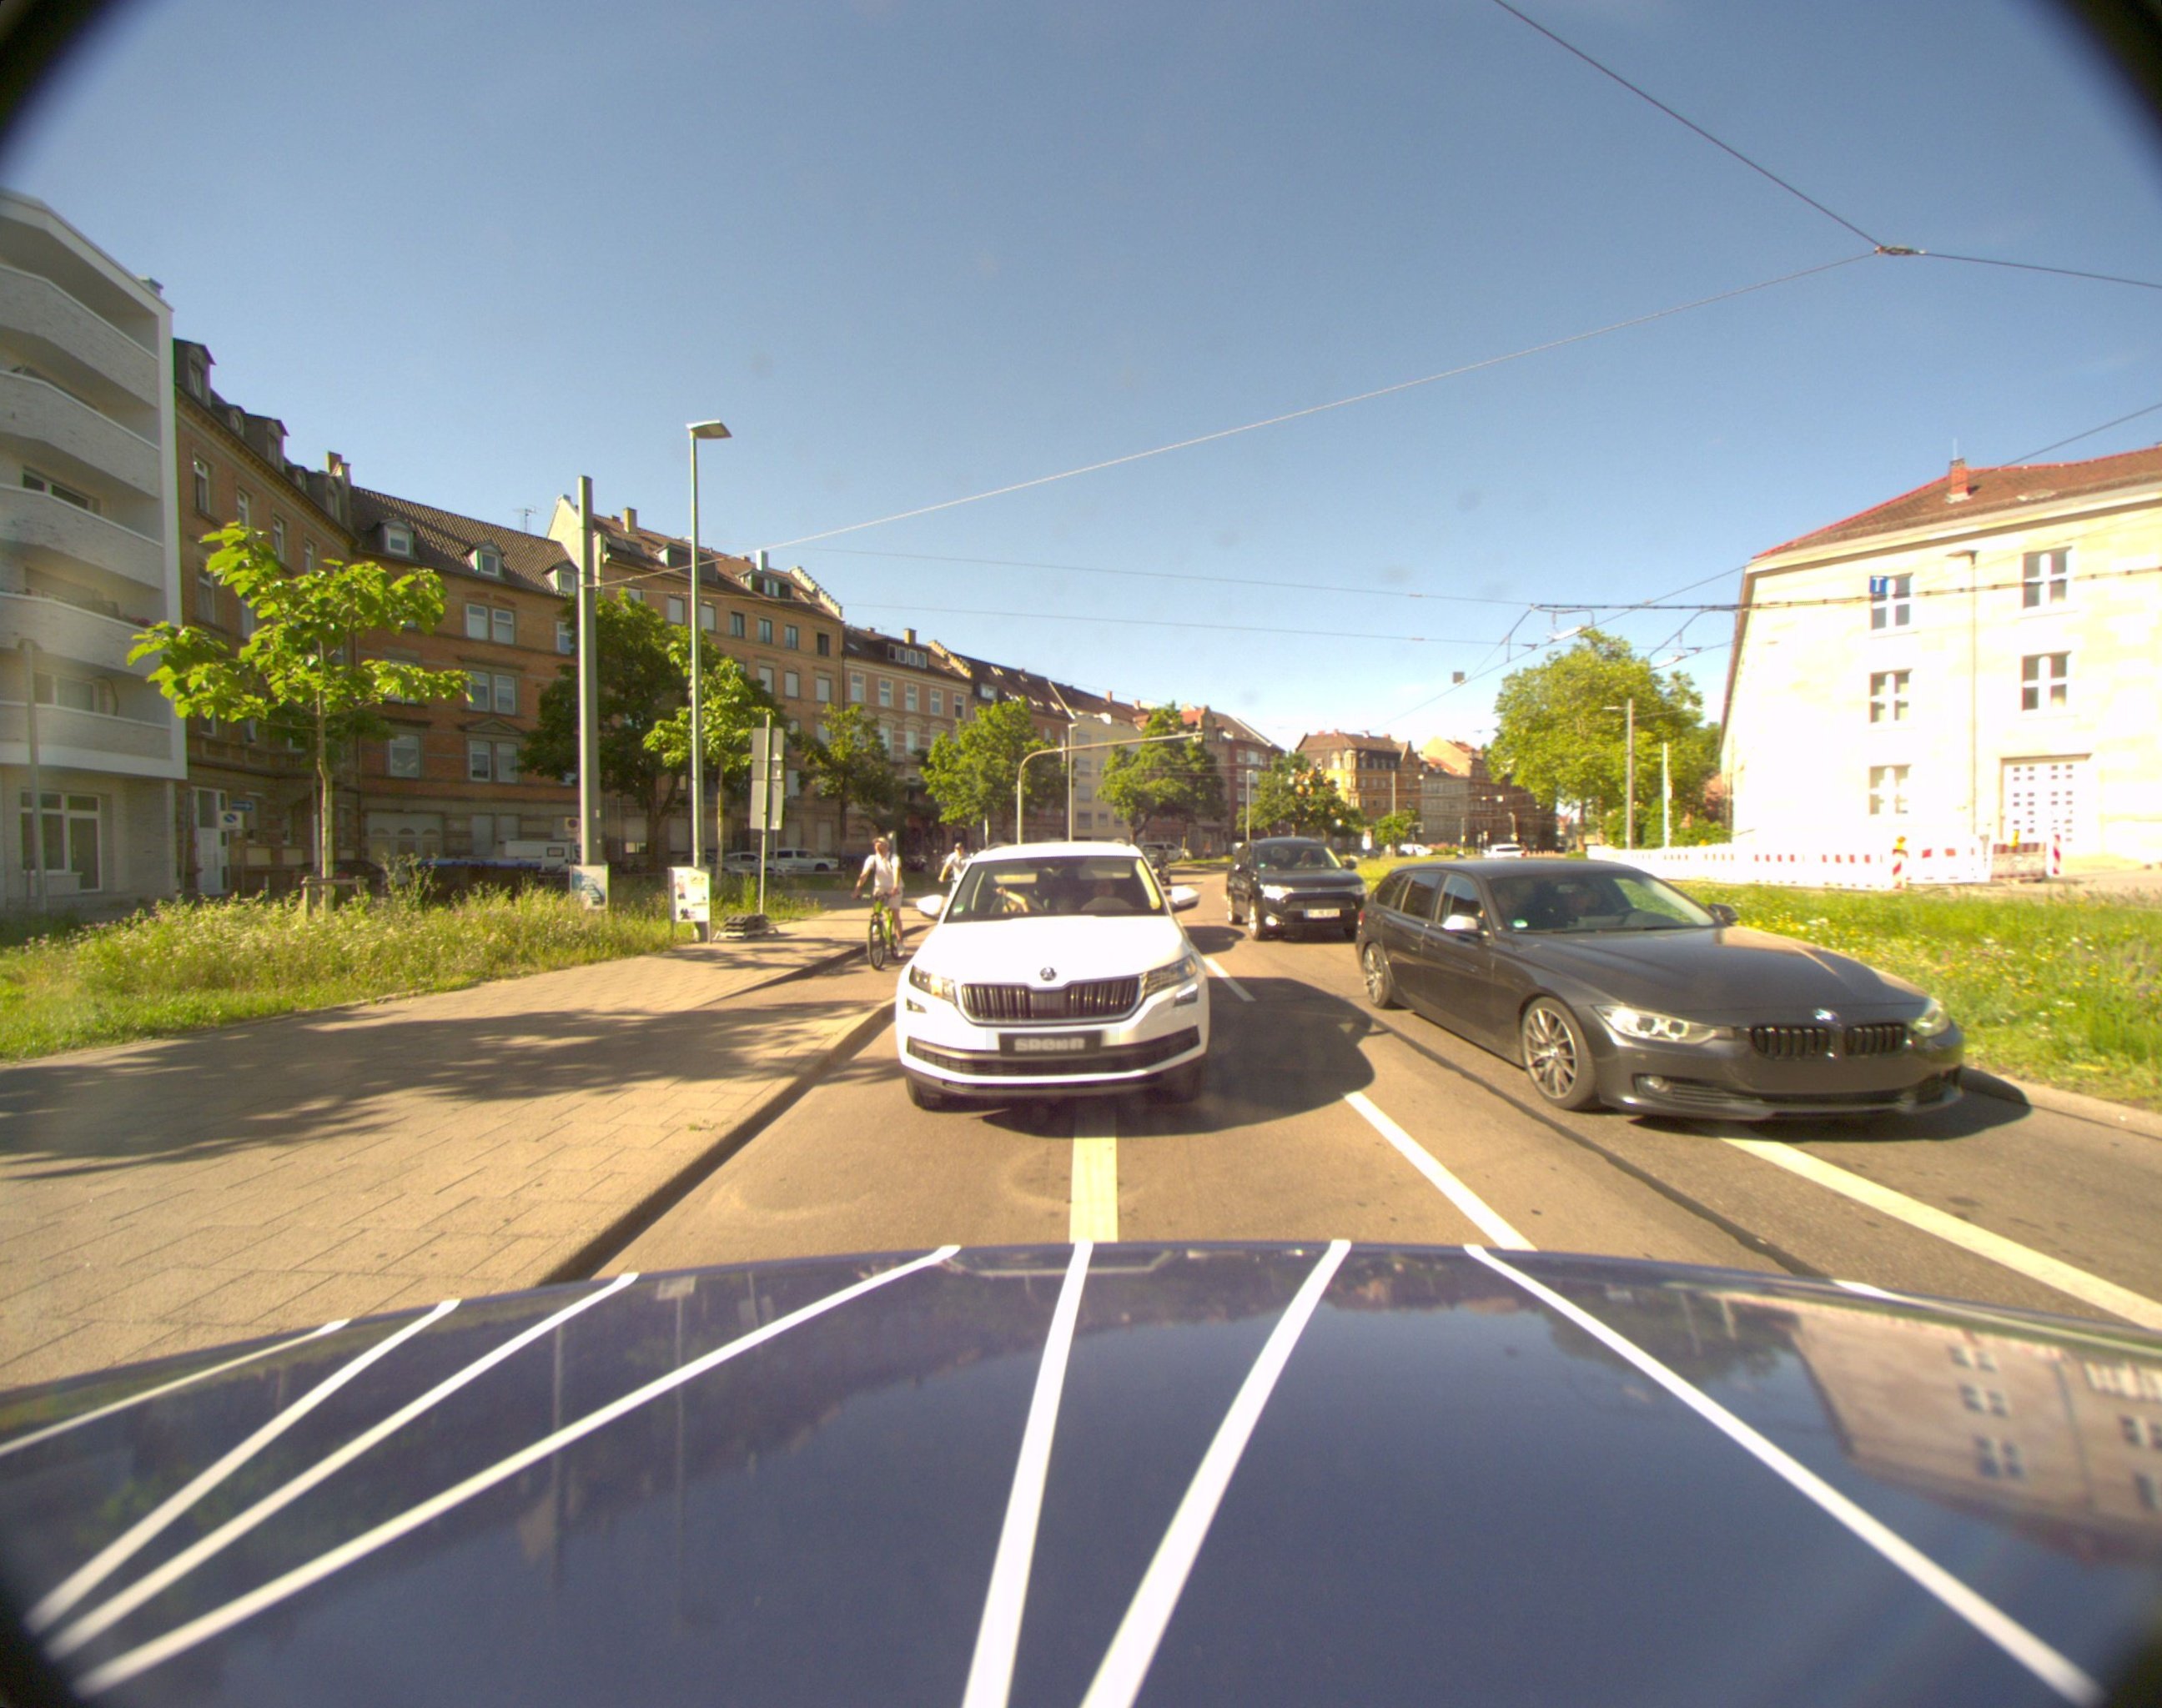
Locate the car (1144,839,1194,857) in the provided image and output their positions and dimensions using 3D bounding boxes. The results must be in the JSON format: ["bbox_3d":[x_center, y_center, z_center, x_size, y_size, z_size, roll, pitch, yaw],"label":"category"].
[{"bbox_3d":[8.201,-0.581,70.611,4.578,1.658,1.600,0,1,7],"label":"car"}]

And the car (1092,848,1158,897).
[{"bbox_3d":[1.646,0.602,26.959,1.838,1.543,4.151,0,1,10],"label":"car"}]

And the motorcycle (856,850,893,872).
[{"bbox_3d":[-12.599,0.407,46.407,2.199,1.260,0.664,-2,1,24],"label":"motorcycle"}]

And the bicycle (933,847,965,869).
[{"bbox_3d":[-7.726,0.246,44.521,0.664,1.260,2.198,-3,1,-45],"label":"bicycle"}]

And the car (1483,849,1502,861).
[{"bbox_3d":[63.247,0.134,116.775,1.835,1.637,4.157,1,2,40],"label":"car"}]

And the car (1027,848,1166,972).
[{"bbox_3d":[0.237,0.764,12.610,1.842,1.636,4.397,-2,0,1],"label":"car"}]

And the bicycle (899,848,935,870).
[{"bbox_3d":[-9.740,0.312,45.073,2.198,1.260,0.664,-2,1,30],"label":"bicycle"}]

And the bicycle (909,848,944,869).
[{"bbox_3d":[-9.507,0.285,46.714,2.198,1.260,0.664,-2,1,32],"label":"bicycle"}]

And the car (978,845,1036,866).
[{"bbox_3d":[-5.224,0.093,53.967,3.822,1.398,1.683,0,1,9],"label":"car"}]

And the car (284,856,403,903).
[{"bbox_3d":[-26.166,0.833,27.151,1.835,1.419,4.378,-1,1,-27],"label":"car"}]

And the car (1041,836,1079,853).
[{"bbox_3d":[-1.936,-0.935,71.668,1.547,1.578,3.607,1,2,41],"label":"car"}]

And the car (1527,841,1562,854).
[{"bbox_3d":[63.044,-0.886,103.340,4.058,1.647,1.770,1,2,34],"label":"car"}]

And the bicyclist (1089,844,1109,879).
[{"bbox_3d":[0.865,0.331,35.578,0.667,1.619,0.972,-1,1,17],"label":"bicyclist"}]

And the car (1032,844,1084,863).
[{"bbox_3d":[-1.772,-0.047,58.715,3.823,1.398,1.600,0,1,6],"label":"car"}]

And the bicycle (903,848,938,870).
[{"bbox_3d":[-9.704,0.300,46.011,2.198,1.260,0.664,-2,1,32],"label":"bicycle"}]

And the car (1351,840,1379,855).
[{"bbox_3d":[29.573,-0.704,79.119,1.836,1.464,4.722,1,1,31],"label":"car"}]

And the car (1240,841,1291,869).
[{"bbox_3d":[14.552,0.035,59.789,1.977,2.074,4.723,1,2,41],"label":"car"}]

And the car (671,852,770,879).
[{"bbox_3d":[-17.497,0.538,36.909,4.156,1.244,1.683,0,1,13],"label":"car"}]

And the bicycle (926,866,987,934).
[{"bbox_3d":[-2.681,0.962,16.645,0.758,1.293,2.155,-1,1,6],"label":"bicycle"}]

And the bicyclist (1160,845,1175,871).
[{"bbox_3d":[5.606,0.255,49.270,0.734,1.685,0.973,0,1,22],"label":"bicyclist"}]

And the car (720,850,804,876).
[{"bbox_3d":[-16.404,0.445,39.108,3.696,1.244,1.683,0,1,13],"label":"car"}]

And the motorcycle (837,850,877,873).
[{"bbox_3d":[-13.286,0.444,45.022,2.314,1.270,0.664,-2,1,24],"label":"motorcycle"}]

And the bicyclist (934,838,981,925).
[{"bbox_3d":[-2.698,0.577,16.664,0.809,1.855,0.749,-1,2,6],"label":"bicyclist"}]

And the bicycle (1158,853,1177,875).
[{"bbox_3d":[5.638,0.623,49.322,0.735,1.353,2.078,0,1,21],"label":"bicycle"}]

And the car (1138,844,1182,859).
[{"bbox_3d":[7.129,-0.241,68.181,3.823,1.372,1.600,0,1,9],"label":"car"}]

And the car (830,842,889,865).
[{"bbox_3d":[-15.607,-0.050,53.674,1.547,1.578,3.709,1,2,41],"label":"car"}]

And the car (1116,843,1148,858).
[{"bbox_3d":[5.472,-0.414,80.730,1.547,1.578,3.607,1,2,41],"label":"car"}]

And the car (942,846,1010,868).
[{"bbox_3d":[-7.040,0.181,51.298,4.322,1.398,1.682,0,1,3],"label":"car"}]

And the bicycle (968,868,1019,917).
[{"bbox_3d":[-2.301,0.999,20.350,0.637,1.190,2.156,-1,1,13],"label":"bicycle"}]

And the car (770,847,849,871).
[{"bbox_3d":[-14.678,0.261,41.197,3.700,1.244,1.540,0,1,2],"label":"car"}]

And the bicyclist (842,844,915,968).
[{"bbox_3d":[-2.920,0.721,11.066,0.716,1.715,1.094,1,1,3],"label":"bicyclist"}]

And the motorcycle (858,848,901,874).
[{"bbox_3d":[-11.176,0.380,42.210,2.200,1.322,0.663,-2,1,13],"label":"motorcycle"}]

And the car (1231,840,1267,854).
[{"bbox_3d":[18.698,-0.812,84.661,3.823,1.581,1.600,0,1,6],"label":"car"}]

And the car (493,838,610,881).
[{"bbox_3d":[-27.115,0.222,39.013,2.047,2.026,4.510,1,2,41],"label":"car"}]

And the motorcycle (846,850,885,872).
[{"bbox_3d":[-12.937,0.421,45.627,2.314,1.276,0.664,-2,1,24],"label":"motorcycle"}]

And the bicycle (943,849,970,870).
[{"bbox_3d":[-7.682,0.346,46.762,0.664,1.260,2.199,-3,1,-36],"label":"bicycle"}]

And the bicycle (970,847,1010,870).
[{"bbox_3d":[-5.473,0.273,45.742,2.207,1.260,0.662,-3,1,-25],"label":"bicycle"}]

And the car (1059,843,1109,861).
[{"bbox_3d":[0.264,-0.153,61.167,3.823,1.398,1.600,0,1,6],"label":"car"}]

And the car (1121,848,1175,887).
[{"bbox_3d":[3.126,0.561,34.868,1.837,1.637,4.152,0,1,14],"label":"car"}]

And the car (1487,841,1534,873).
[{"bbox_3d":[22.939,0.136,40.687,1.821,1.636,4.189,-1,0,25],"label":"car"}]

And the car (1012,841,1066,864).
[{"bbox_3d":[-3.104,-0.130,56.106,3.825,1.698,1.682,0,1,3],"label":"car"}]

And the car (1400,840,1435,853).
[{"bbox_3d":[51.722,-1.127,116.687,4.578,1.864,2.004,-2,1,33],"label":"car"}]

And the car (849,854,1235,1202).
[{"bbox_3d":[-0.226,0.856,5.952,1.842,1.636,4.397,-2,0,-1],"label":"car"}]

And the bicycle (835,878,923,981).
[{"bbox_3d":[-2.909,1.050,11.139,0.716,1.319,1.749,1,0,4],"label":"bicycle"}]

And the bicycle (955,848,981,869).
[{"bbox_3d":[-7.120,0.314,47.756,0.664,1.260,2.199,-3,1,-36],"label":"bicycle"}]

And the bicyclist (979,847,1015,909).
[{"bbox_3d":[-2.251,0.636,20.448,0.630,1.619,0.972,-1,1,13],"label":"bicyclist"}]

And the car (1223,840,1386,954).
[{"bbox_3d":[3.699,0.628,13.400,1.841,1.636,4.399,-2,0,5],"label":"car"}]

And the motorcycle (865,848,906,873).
[{"bbox_3d":[-11.146,0.363,43.296,2.200,1.315,0.664,-2,1,18],"label":"motorcycle"}]

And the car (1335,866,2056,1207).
[{"bbox_3d":[3.480,0.851,5.596,1.741,1.359,4.426,-2,0,1],"label":"car"}]
